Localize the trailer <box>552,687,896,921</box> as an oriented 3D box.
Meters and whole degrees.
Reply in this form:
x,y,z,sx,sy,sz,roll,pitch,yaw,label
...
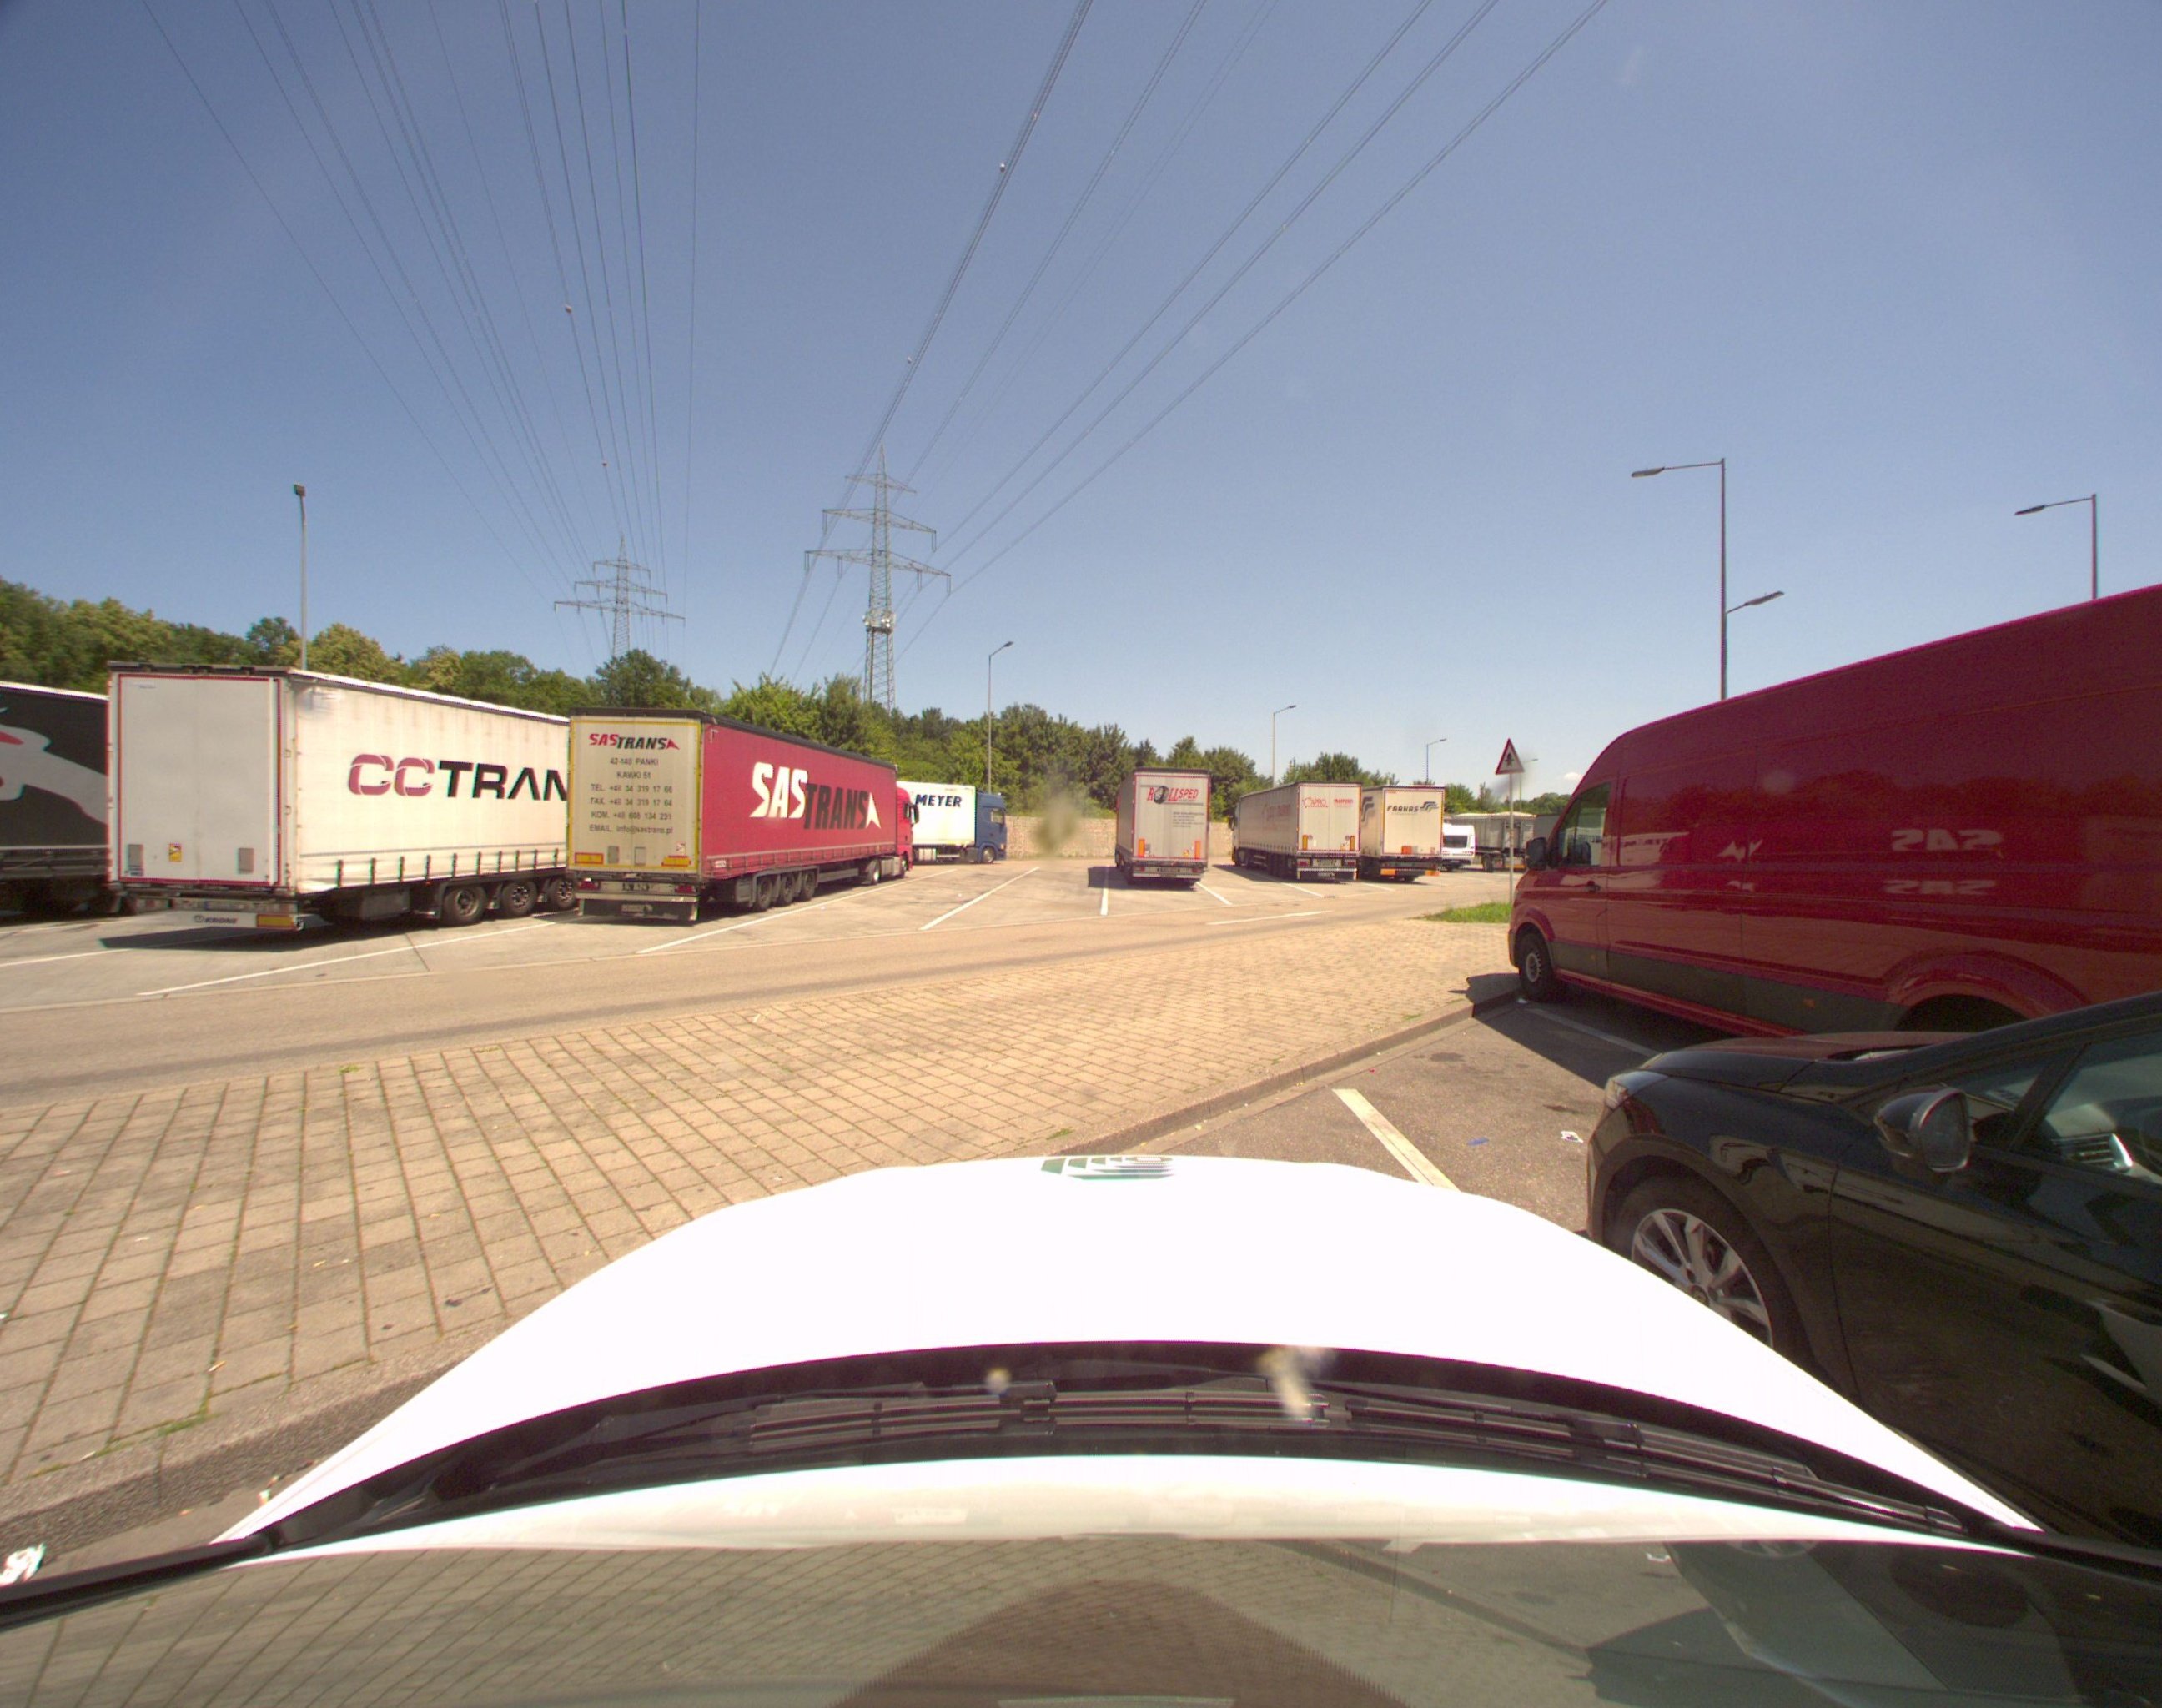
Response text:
x,y,z,sx,sy,sz,roll,pitch,yaw,label
-8.002,-0.998,21.428,2.789,4.219,13.208,-1,1,2,trailer

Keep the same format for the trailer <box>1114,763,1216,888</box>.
x,y,z,sx,sy,sz,roll,pitch,yaw,label
2.973,-1.002,32.153,2.887,4.013,11.317,-1,1,0,trailer

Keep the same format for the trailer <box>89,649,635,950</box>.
x,y,z,sx,sy,sz,roll,pitch,yaw,label
-12.206,-0.810,15.403,2.744,4.152,8.291,0,1,2,trailer

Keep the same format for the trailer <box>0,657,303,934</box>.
x,y,z,sx,sy,sz,roll,pitch,yaw,label
-18.562,-0.951,14.826,2.668,4.444,6.151,-1,1,2,trailer

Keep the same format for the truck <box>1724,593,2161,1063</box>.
x,y,z,sx,sy,sz,roll,pitch,yaw,label
7.833,-0.156,6.026,2.508,2.827,4.821,0,-1,3,truck

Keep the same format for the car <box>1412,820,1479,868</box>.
x,y,z,sx,sy,sz,roll,pitch,yaw,label
20.541,-0.518,46.098,2.107,2.599,4.001,0,-1,2,car

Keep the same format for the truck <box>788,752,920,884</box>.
x,y,z,sx,sy,sz,roll,pitch,yaw,label
-7.751,-1.172,28.684,2.795,4.133,5.896,-1,1,2,truck

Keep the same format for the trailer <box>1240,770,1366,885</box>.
x,y,z,sx,sy,sz,roll,pitch,yaw,label
9.906,-1.114,38.174,2.672,4.452,12.833,-1,1,1,trailer

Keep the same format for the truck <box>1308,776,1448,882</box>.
x,y,z,sx,sy,sz,roll,pitch,yaw,label
13.535,-0.940,38.558,2.577,4.226,11.974,0,-1,2,truck

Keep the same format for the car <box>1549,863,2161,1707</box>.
x,y,z,sx,sy,sz,roll,pitch,yaw,label
2.540,0.750,0.915,1.772,1.457,3.681,0,-1,-3,car

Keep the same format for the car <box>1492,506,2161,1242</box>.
x,y,z,sx,sy,sz,roll,pitch,yaw,label
5.113,0.027,5.495,1.984,2.633,6.393,-1,1,5,car

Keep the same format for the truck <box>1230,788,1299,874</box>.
x,y,z,sx,sy,sz,roll,pitch,yaw,label
10.083,-1.232,45.235,2.651,4.452,5.866,-1,1,2,truck

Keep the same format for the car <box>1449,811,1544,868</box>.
x,y,z,sx,sy,sz,roll,pitch,yaw,label
24.139,-0.821,47.719,2.490,3.074,6.353,-1,1,2,car

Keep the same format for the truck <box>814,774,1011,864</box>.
x,y,z,sx,sy,sz,roll,pitch,yaw,label
-8.123,-1.576,40.855,10.112,4.033,2.214,0,0,-44,truck

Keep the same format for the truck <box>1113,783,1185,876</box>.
x,y,z,sx,sy,sz,roll,pitch,yaw,label
3.006,-1.084,37.811,2.862,3.980,6.029,0,1,0,truck
